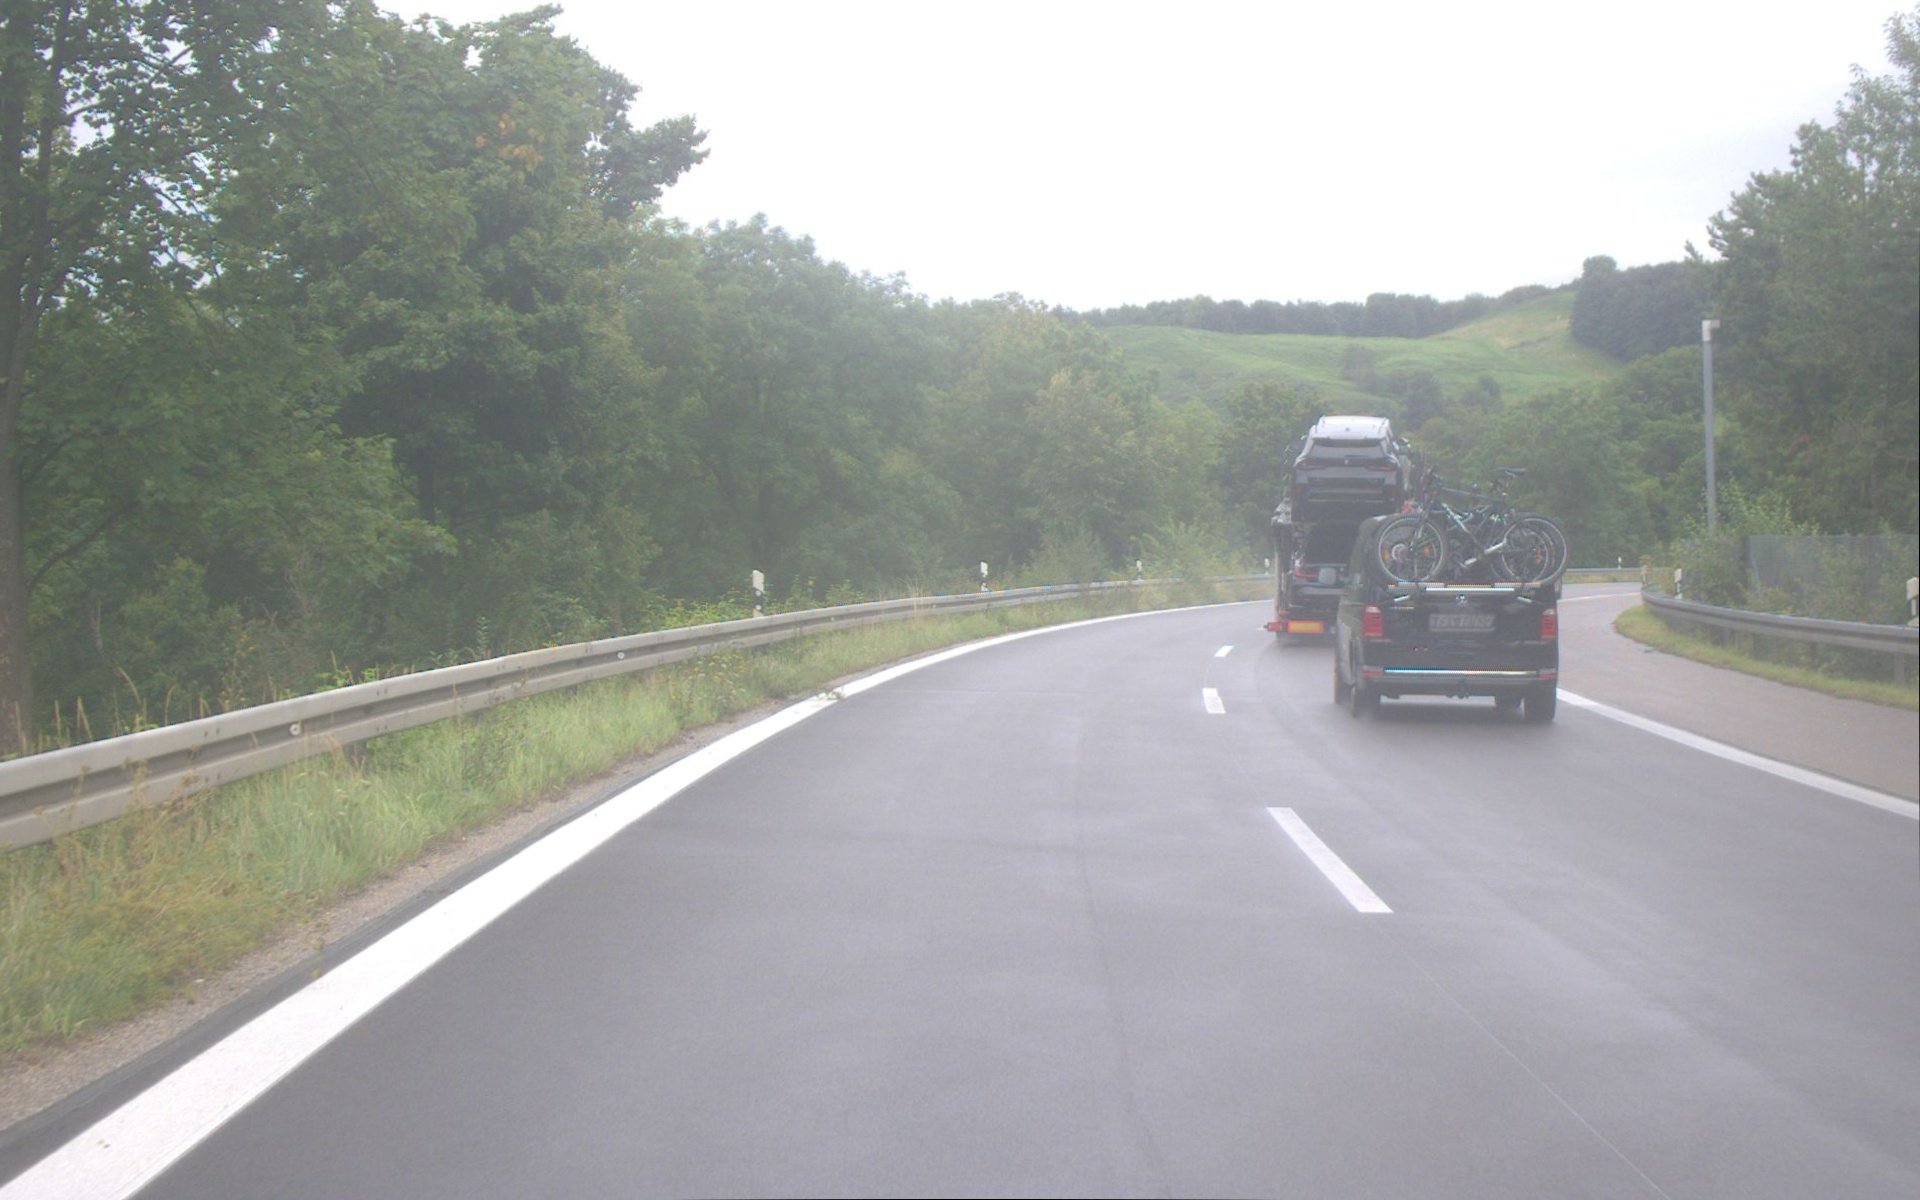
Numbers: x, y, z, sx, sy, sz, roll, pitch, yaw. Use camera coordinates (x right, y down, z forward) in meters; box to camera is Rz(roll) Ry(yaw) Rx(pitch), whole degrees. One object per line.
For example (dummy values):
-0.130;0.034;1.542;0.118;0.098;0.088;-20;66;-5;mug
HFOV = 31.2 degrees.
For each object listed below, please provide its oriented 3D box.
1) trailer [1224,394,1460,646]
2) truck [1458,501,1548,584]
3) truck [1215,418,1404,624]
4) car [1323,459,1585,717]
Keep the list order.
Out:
6.664;-1.424;61.861;3.449;3.986;12.026;2;1;3;trailer
17.809;-1.908;112.562;2.650;2.596;6.417;-1;1;11;truck
7.306;-1.672;73.348;3.395;3.986;10.846;2;1;3;truck
4.656;-0.172;33.186;2.110;2.257;5.896;0;1;4;car
